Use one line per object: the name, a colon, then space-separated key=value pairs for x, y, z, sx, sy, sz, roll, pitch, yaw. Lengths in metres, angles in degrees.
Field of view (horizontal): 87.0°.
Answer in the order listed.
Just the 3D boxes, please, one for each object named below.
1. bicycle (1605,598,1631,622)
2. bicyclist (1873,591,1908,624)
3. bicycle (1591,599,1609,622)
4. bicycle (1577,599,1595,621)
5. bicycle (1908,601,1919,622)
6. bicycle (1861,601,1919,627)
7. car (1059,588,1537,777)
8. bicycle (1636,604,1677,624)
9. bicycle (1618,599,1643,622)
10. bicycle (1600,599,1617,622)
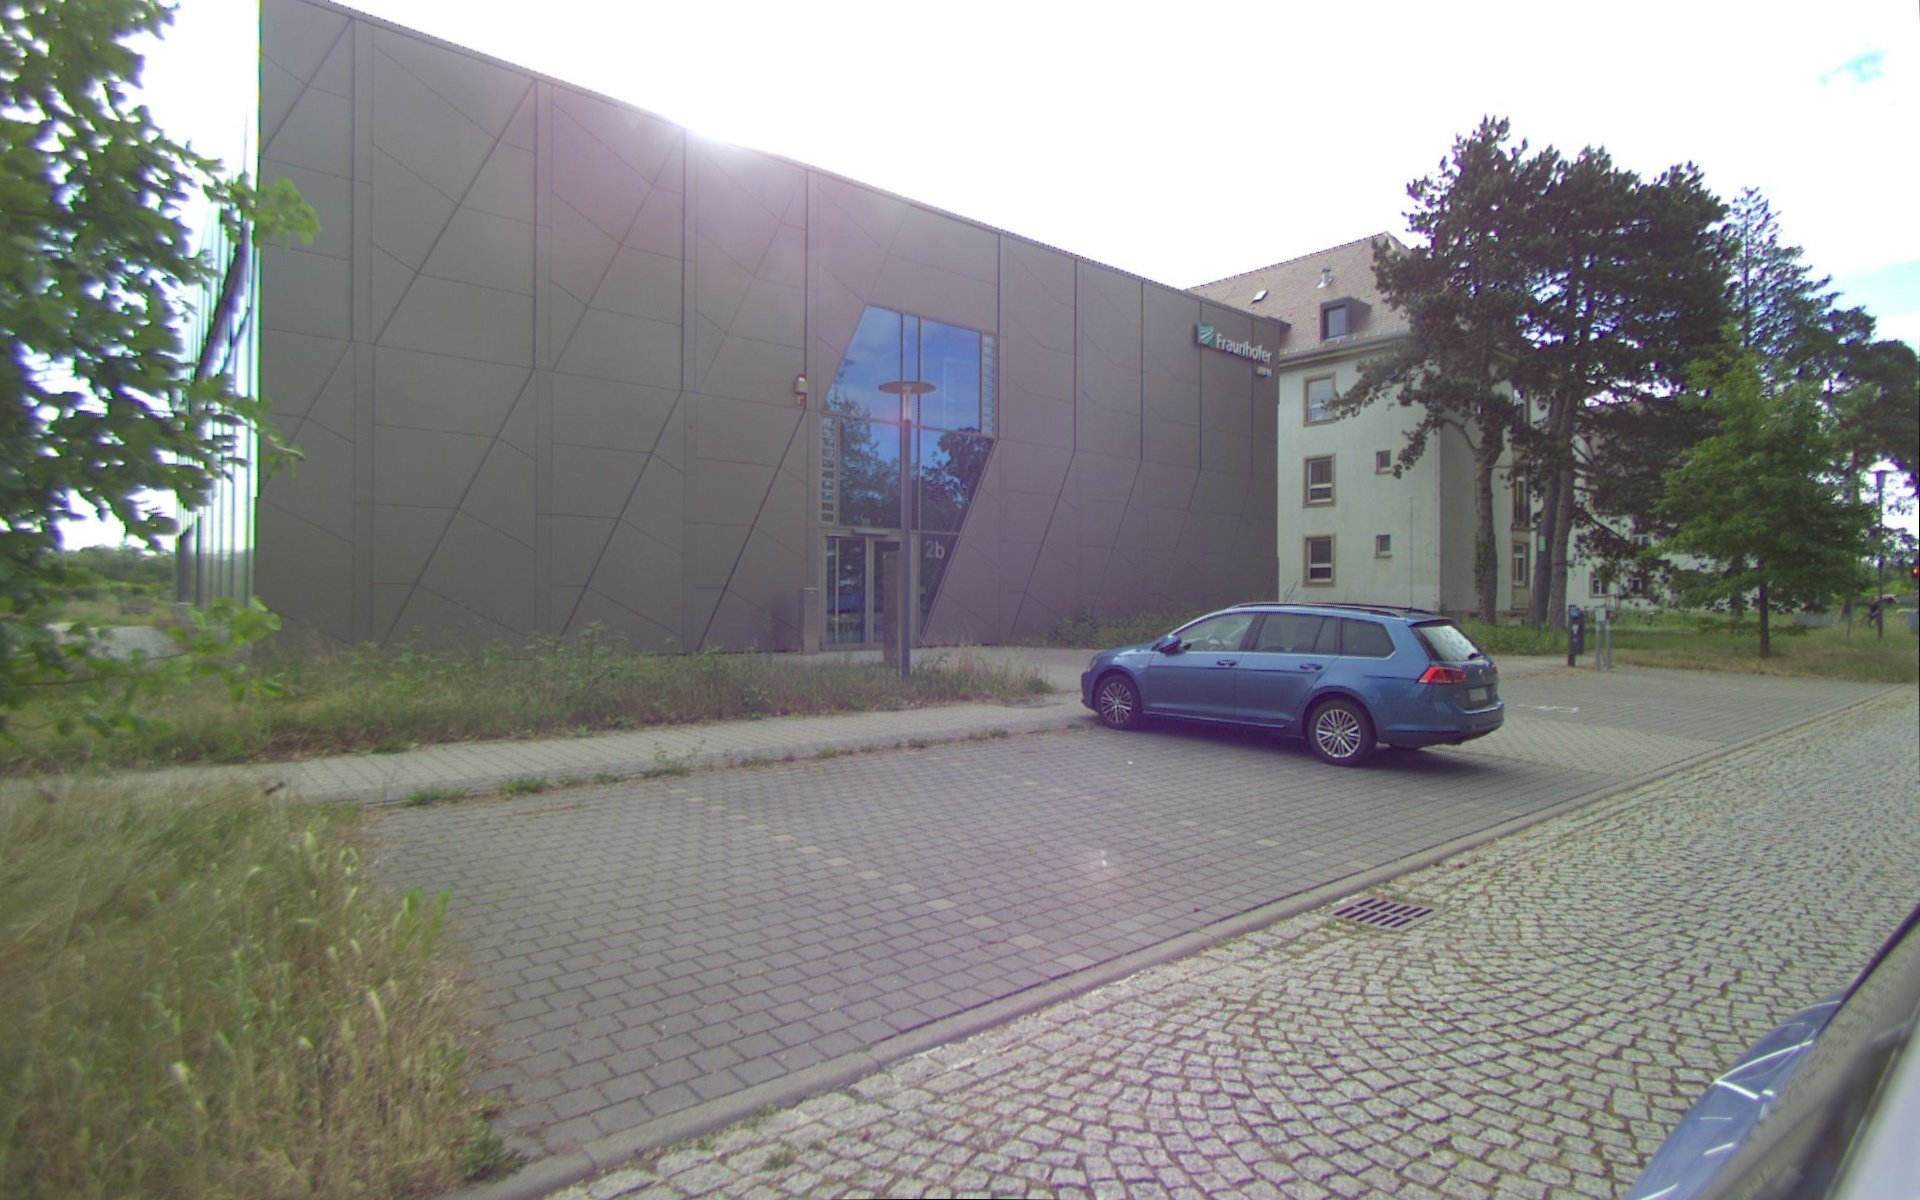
bicycle: x=38.890 y=0.584 z=59.813 sx=1.802 sy=1.349 sz=0.573 roll=0 pitch=0 yaw=-33
bicyclist: x=46.986 y=0.358 z=51.125 sx=0.903 sy=1.656 sz=0.961 roll=0 pitch=0 yaw=11
bicycle: x=38.308 y=0.604 z=60.538 sx=0.571 sy=1.349 sz=1.808 roll=0 pitch=0 yaw=44
bicycle: x=37.768 y=0.601 z=61.081 sx=0.571 sy=1.349 sz=1.808 roll=0 pitch=0 yaw=44
bicycle: x=51.839 y=0.634 z=53.973 sx=0.563 sy=1.098 sz=1.834 roll=-2 pitch=1 yaw=-42
bicycle: x=47.075 y=0.720 z=51.110 sx=2.129 sy=1.292 sz=0.961 roll=0 pitch=0 yaw=11
car: x=3.363 y=0.679 z=10.810 sx=1.793 sy=1.461 sz=4.527 roll=0 pitch=2 yaw=-43
bicycle: x=39.241 y=0.795 z=57.027 sx=0.562 sy=1.098 sz=1.837 roll=-2 pitch=1 yaw=-37
bicycle: x=39.379 y=0.599 z=59.408 sx=1.802 sy=1.349 sz=0.573 roll=0 pitch=0 yaw=-33
bicycle: x=38.578 y=0.595 z=60.200 sx=0.481 sy=1.349 sz=1.808 roll=0 pitch=0 yaw=44
